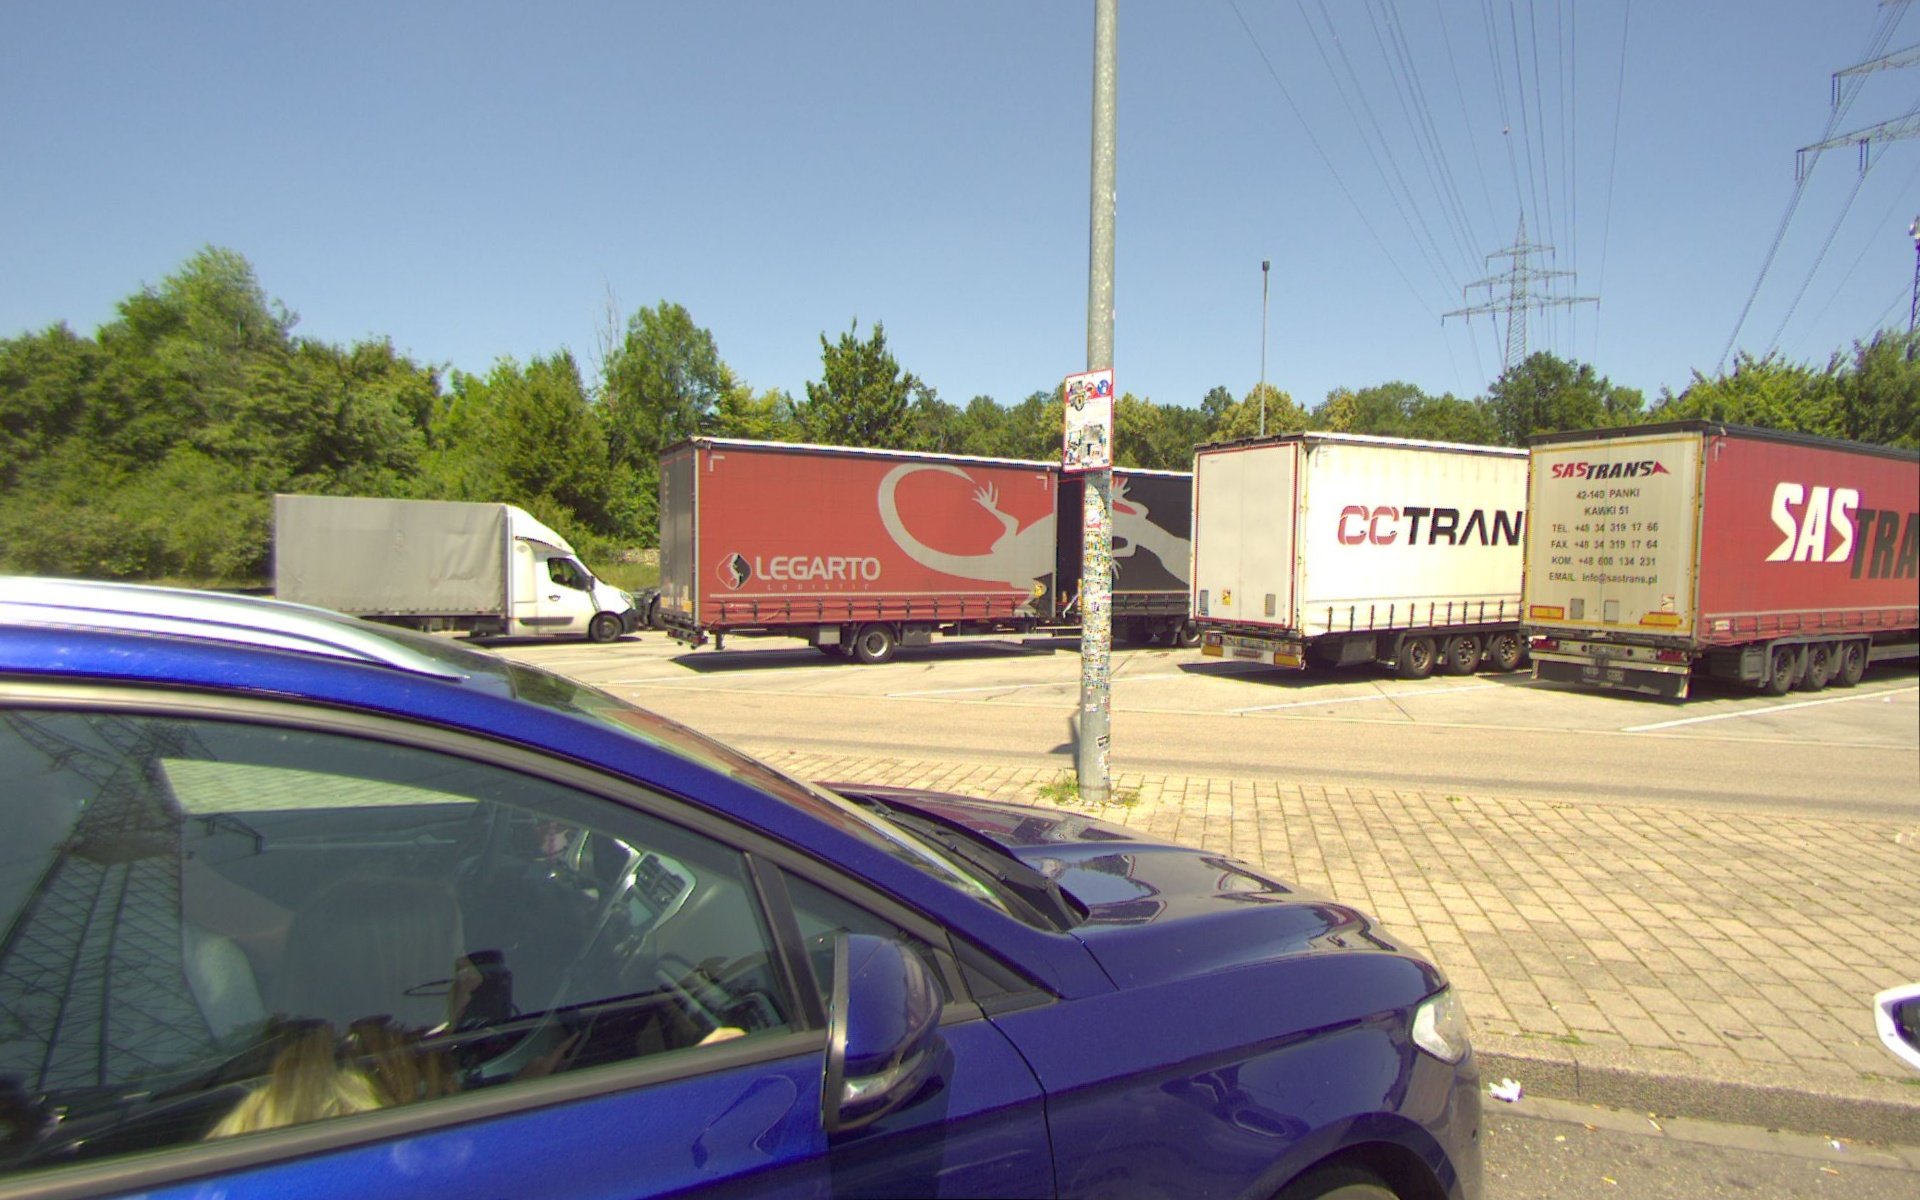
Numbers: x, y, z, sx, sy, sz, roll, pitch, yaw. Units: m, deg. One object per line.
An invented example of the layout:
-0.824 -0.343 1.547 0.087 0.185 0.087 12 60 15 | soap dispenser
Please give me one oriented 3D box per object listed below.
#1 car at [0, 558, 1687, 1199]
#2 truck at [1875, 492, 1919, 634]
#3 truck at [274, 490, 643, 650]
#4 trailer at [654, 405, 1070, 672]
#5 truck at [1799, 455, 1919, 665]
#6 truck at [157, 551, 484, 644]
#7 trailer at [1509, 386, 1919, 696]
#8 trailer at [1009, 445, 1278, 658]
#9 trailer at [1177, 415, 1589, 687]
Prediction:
-0.985 0.686 1.483 4.362 1.437 1.731 1 0 -30 | car
32.676 -0.930 28.517 9.851 4.087 2.242 2 1 14 | truck
-11.067 -0.581 22.725 7.171 3.194 2.160 0 1 -30 | truck
-1.794 -1.026 20.203 7.963 4.510 2.648 0 0 -31 | trailer
21.438 -0.789 22.059 5.824 4.189 2.792 0 0 -30 | truck
-15.394 -0.043 24.695 6.538 2.040 1.984 0 0 -30 | truck
15.254 -0.785 18.424 13.046 4.276 2.786 0 0 -31 | trailer
4.443 -1.018 24.028 6.076 4.505 2.665 0 1 -30 | trailer
8.111 -0.764 18.842 8.189 4.208 2.741 0 1 -30 | trailer
